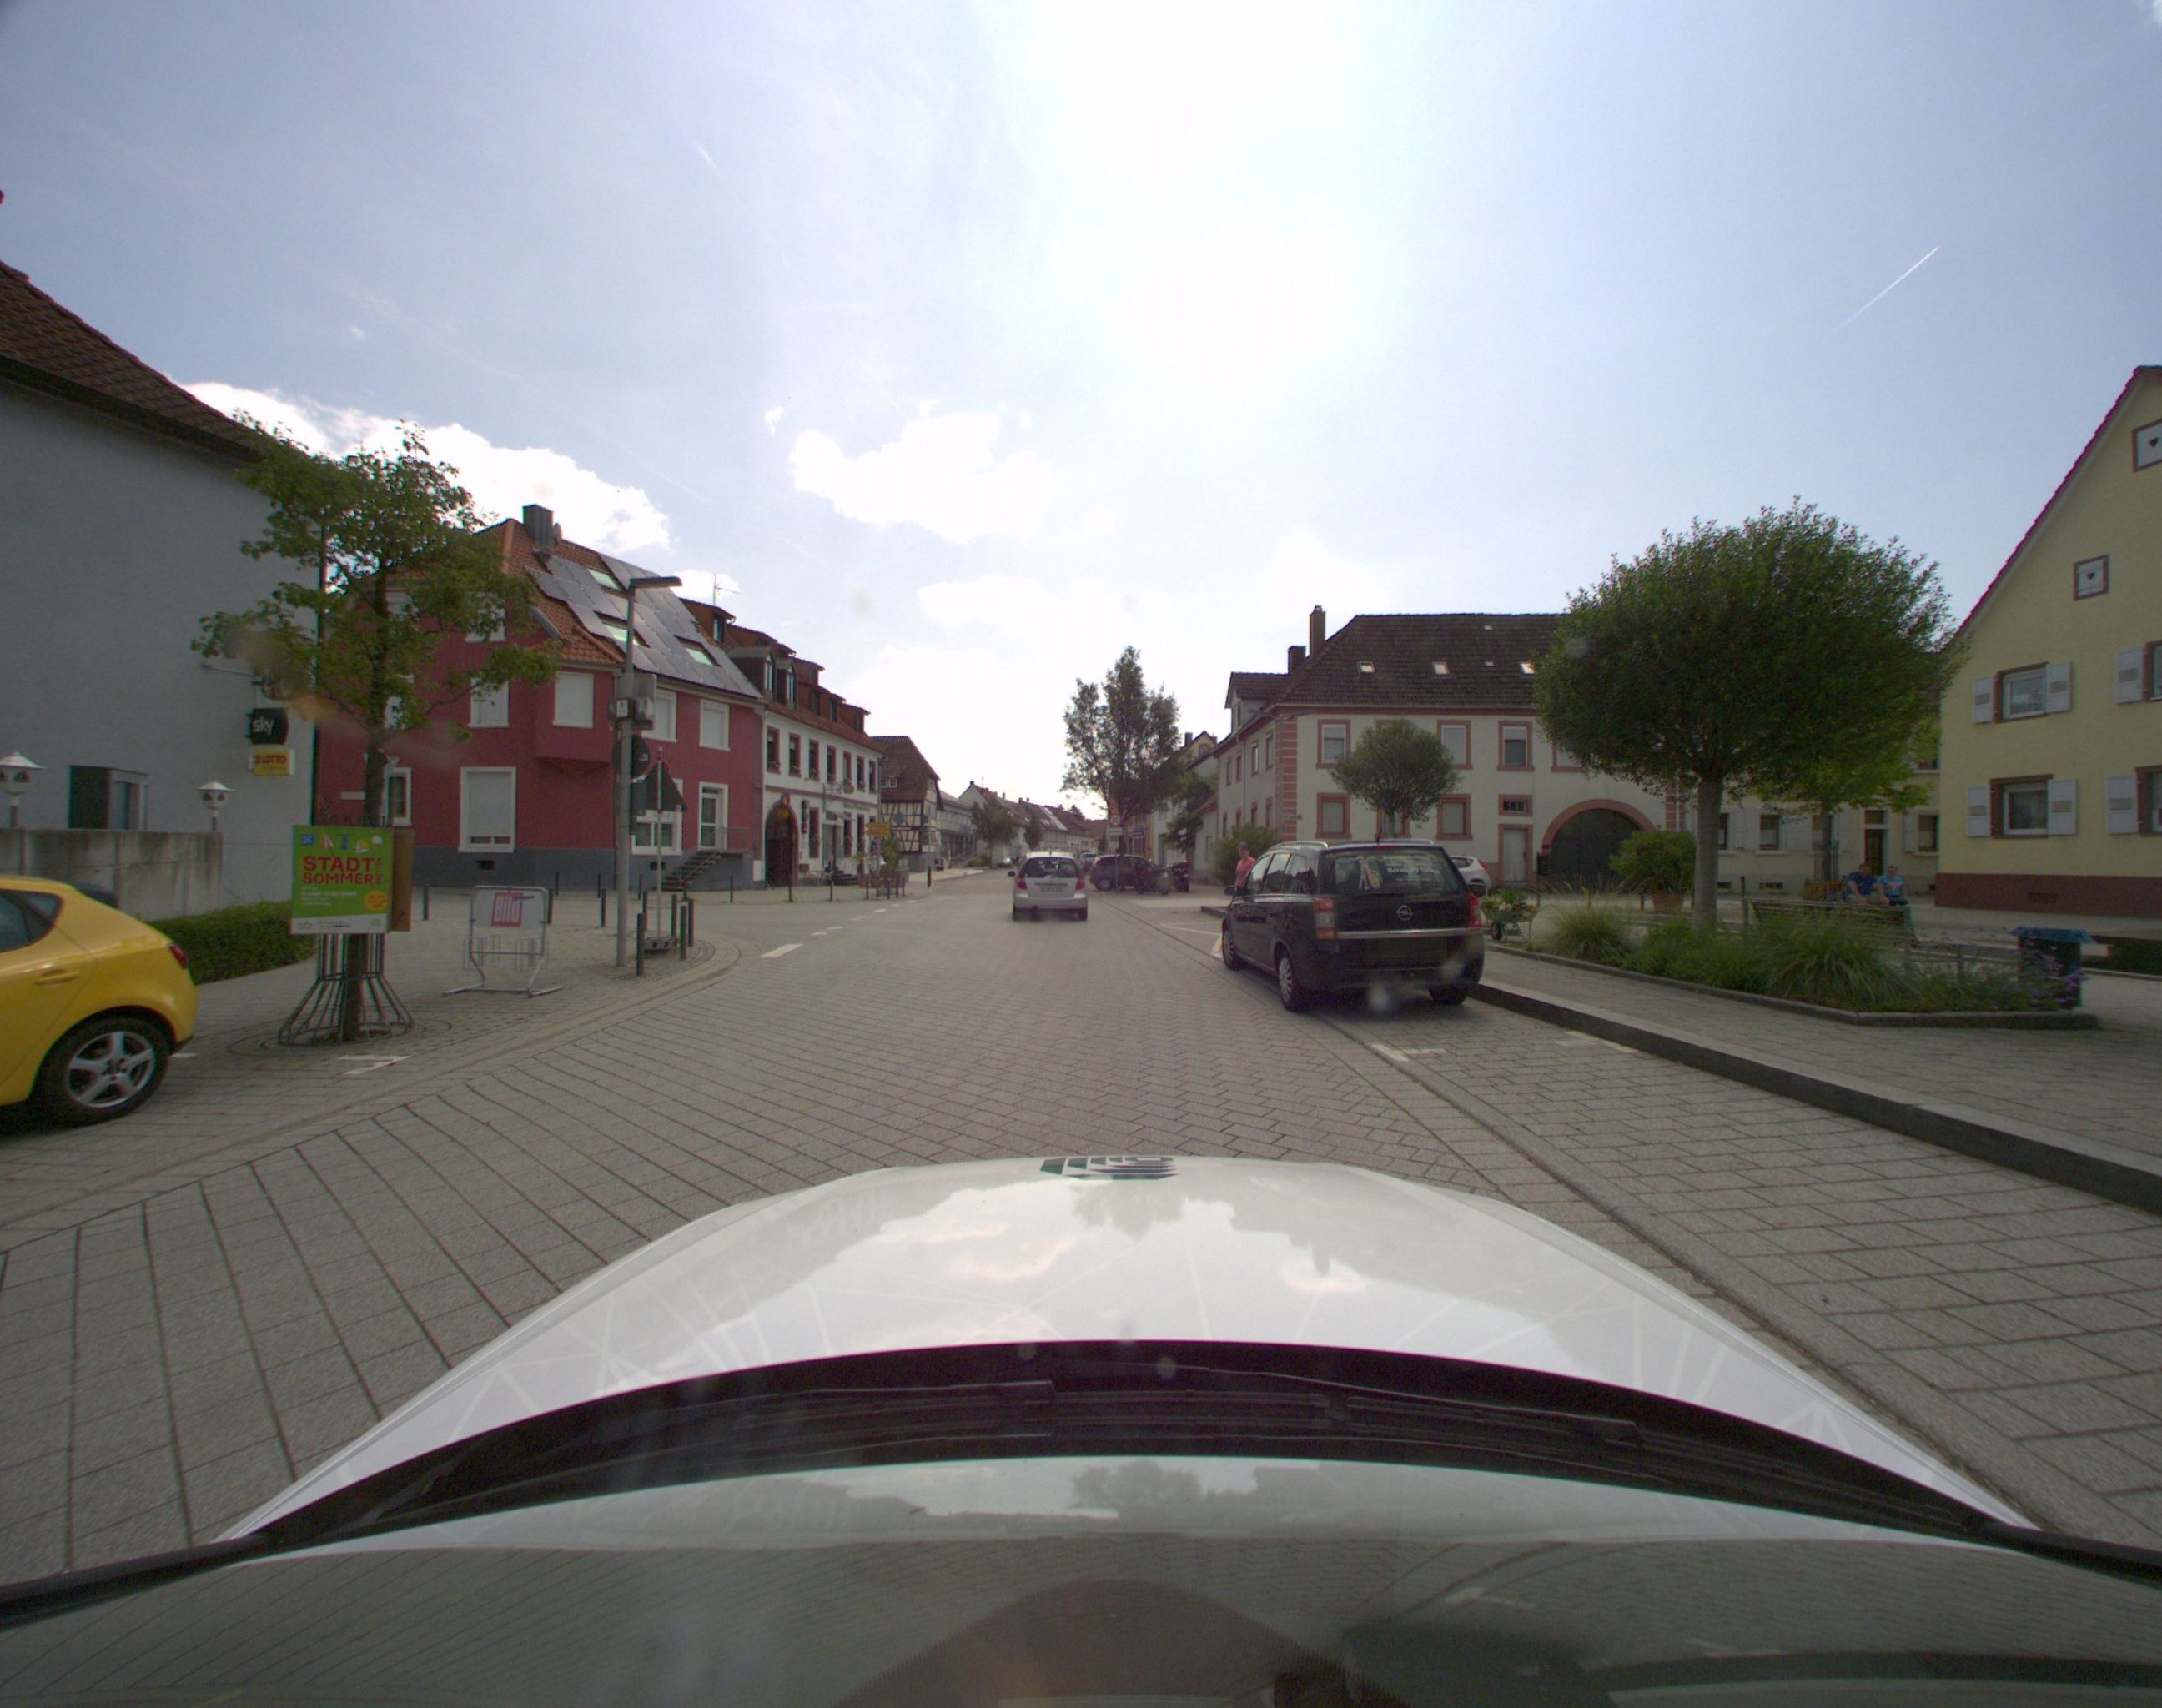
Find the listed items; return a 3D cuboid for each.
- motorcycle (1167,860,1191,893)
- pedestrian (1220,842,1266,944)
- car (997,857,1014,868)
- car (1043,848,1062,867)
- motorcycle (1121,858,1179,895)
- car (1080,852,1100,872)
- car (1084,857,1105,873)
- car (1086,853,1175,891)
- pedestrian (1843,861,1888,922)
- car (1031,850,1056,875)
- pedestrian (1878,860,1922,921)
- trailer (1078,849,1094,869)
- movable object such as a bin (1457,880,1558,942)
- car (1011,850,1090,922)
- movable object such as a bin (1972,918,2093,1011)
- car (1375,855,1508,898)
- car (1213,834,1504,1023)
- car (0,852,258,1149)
[{"bbox_3d":[4.112,0.923,34.309,0.954,1.298,2.229,-2,-1,6],"label":"motorcycle"},{"bbox_3d":[2.635,0.618,13.284,0.636,1.629,0.620,0,-1,1],"label":"pedestrian"},{"bbox_3d":[-10.297,1.197,111.956,1.798,1.460,4.159,1,0,2],"label":"car"},{"bbox_3d":[-3.522,0.475,101.234,2.230,2.222,3.997,0,-1,-1],"label":"car"},{"bbox_3d":[2.682,0.870,31.915,2.197,1.395,0.878,0,-1,41],"label":"motorcycle"},{"bbox_3d":[0.875,0.830,85.009,1.887,1.982,4.928,-2,0,-1],"label":"car"},{"bbox_3d":[1.261,1.021,76.857,1.769,1.495,4.159,0,0,-1],"label":"car"},{"bbox_3d":[2.230,0.808,37.604,3.842,1.577,1.847,-1,0,-5],"label":"car"},{"bbox_3d":[16.969,0.794,17.634,0.606,1.284,0.677,-2,-2,38],"label":"pedestrian"},{"bbox_3d":[-2.975,0.701,65.661,1.763,1.888,4.445,3,-1,0],"label":"car"},{"bbox_3d":[17.743,0.787,17.655,0.530,1.284,0.795,-2,-2,38],"label":"pedestrian"},{"bbox_3d":[0.609,0.569,99.819,1.840,2.354,3.586,0,0,-2],"label":"trailer"},{"bbox_3d":[6.555,0.850,12.590,0.733,0.866,1.433,1,-1,-4],"label":"movable object such as a bin"},{"bbox_3d":[-0.850,0.719,20.414,1.766,1.594,3.993,-1,0,-5],"label":"car"},{"bbox_3d":[8.032,0.926,6.889,0.563,0.733,0.391,0,-1,1],"label":"movable object such as a bin"},{"bbox_3d":[12.752,0.771,29.001,3.976,1.473,1.827,0,0,3],"label":"car"},{"bbox_3d":[2.711,0.641,9.114,1.763,1.564,4.418,-1,0,0],"label":"car"},{"bbox_3d":[-6.198,0.726,3.292,1.662,1.474,3.963,0,0,1],"label":"car"}]
